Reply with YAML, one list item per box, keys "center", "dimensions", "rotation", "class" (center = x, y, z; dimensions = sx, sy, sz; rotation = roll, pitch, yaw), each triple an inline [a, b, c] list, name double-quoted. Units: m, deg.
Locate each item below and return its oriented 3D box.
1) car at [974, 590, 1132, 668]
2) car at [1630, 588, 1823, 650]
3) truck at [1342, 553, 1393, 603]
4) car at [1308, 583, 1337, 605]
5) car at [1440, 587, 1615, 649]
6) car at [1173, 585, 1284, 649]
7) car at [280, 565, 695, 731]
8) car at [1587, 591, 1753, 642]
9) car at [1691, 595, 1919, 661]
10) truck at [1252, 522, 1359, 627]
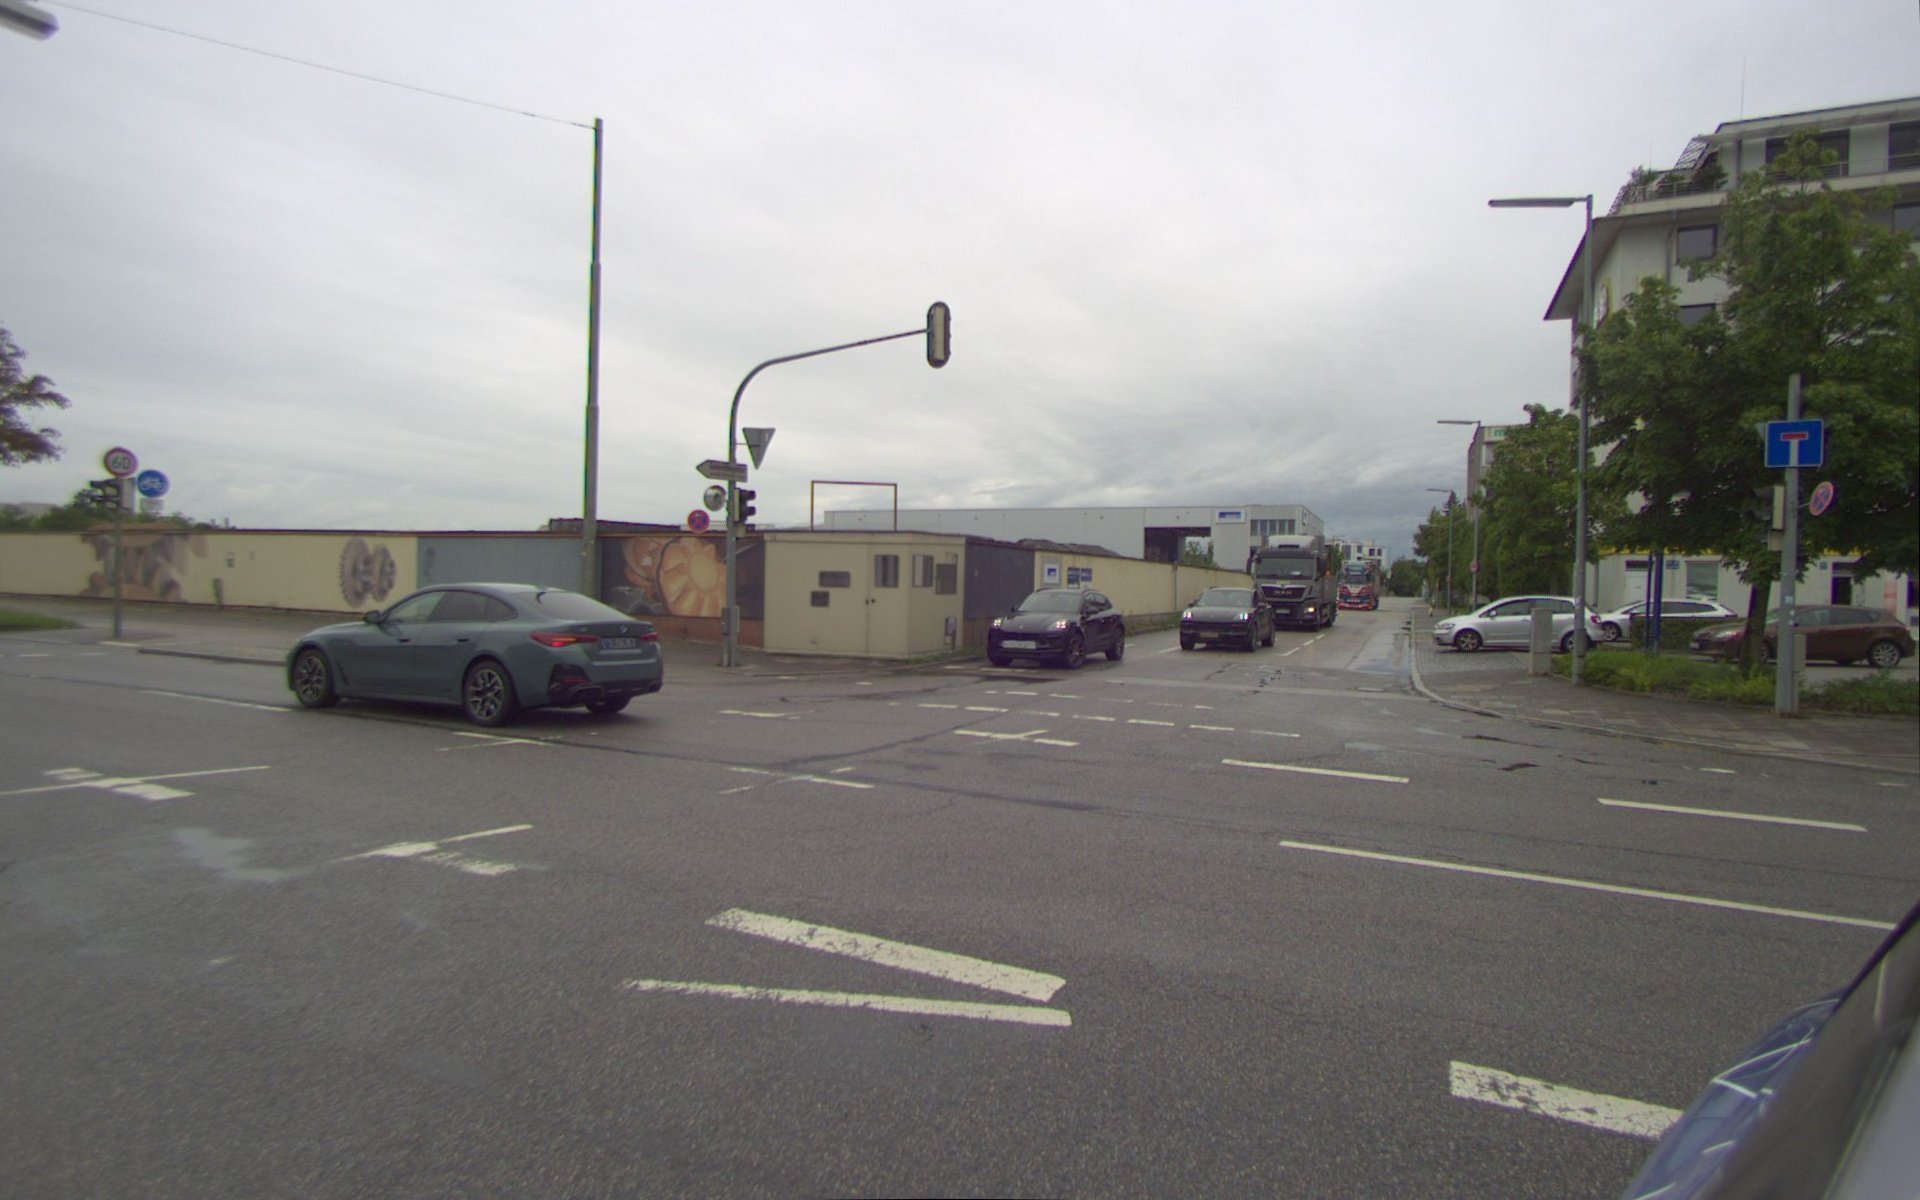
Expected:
- center: [2.127, 0.549, 22.024]
  dimensions: [1.981, 1.445, 4.224]
  rotation: [2, 2, 28]
  class: "car"
- center: [20.841, 0.482, 27.734]
  dimensions: [3.940, 1.505, 1.613]
  rotation: [2, 0, 27]
  class: "car"
- center: [34.565, -1.855, 85.503]
  dimensions: [2.852, 3.879, 11.823]
  rotation: [1, 2, 27]
  class: "truck"
- center: [30.585, -0.465, 85.413]
  dimensions: [1.854, 1.727, 4.066]
  rotation: [2, 0, 26]
  class: "car"
- center: [15.290, 0.465, 27.499]
  dimensions: [3.934, 1.505, 1.615]
  rotation: [2, 0, 24]
  class: "car"
- center: [7.469, 0.399, 27.829]
  dimensions: [1.981, 1.551, 4.589]
  rotation: [2, 2, 28]
  class: "car"
- center: [-5.360, 0.433, 11.438]
  dimensions: [4.394, 1.526, 1.900]
  rotation: [2, 0, 26]
  class: "car"
- center: [23.190, 0.522, 33.268]
  dimensions: [4.149, 1.497, 1.892]
  rotation: [2, 0, 25]
  class: "car"
- center: [20.428, 0.648, 24.282]
  dimensions: [4.302, 1.401, 1.695]
  rotation: [2, 0, 16]
  class: "car"
- center: [15.072, -1.085, 43.426]
  dimensions: [2.585, 3.903, 11.823]
  rotation: [1, 2, 27]
  class: "truck"
